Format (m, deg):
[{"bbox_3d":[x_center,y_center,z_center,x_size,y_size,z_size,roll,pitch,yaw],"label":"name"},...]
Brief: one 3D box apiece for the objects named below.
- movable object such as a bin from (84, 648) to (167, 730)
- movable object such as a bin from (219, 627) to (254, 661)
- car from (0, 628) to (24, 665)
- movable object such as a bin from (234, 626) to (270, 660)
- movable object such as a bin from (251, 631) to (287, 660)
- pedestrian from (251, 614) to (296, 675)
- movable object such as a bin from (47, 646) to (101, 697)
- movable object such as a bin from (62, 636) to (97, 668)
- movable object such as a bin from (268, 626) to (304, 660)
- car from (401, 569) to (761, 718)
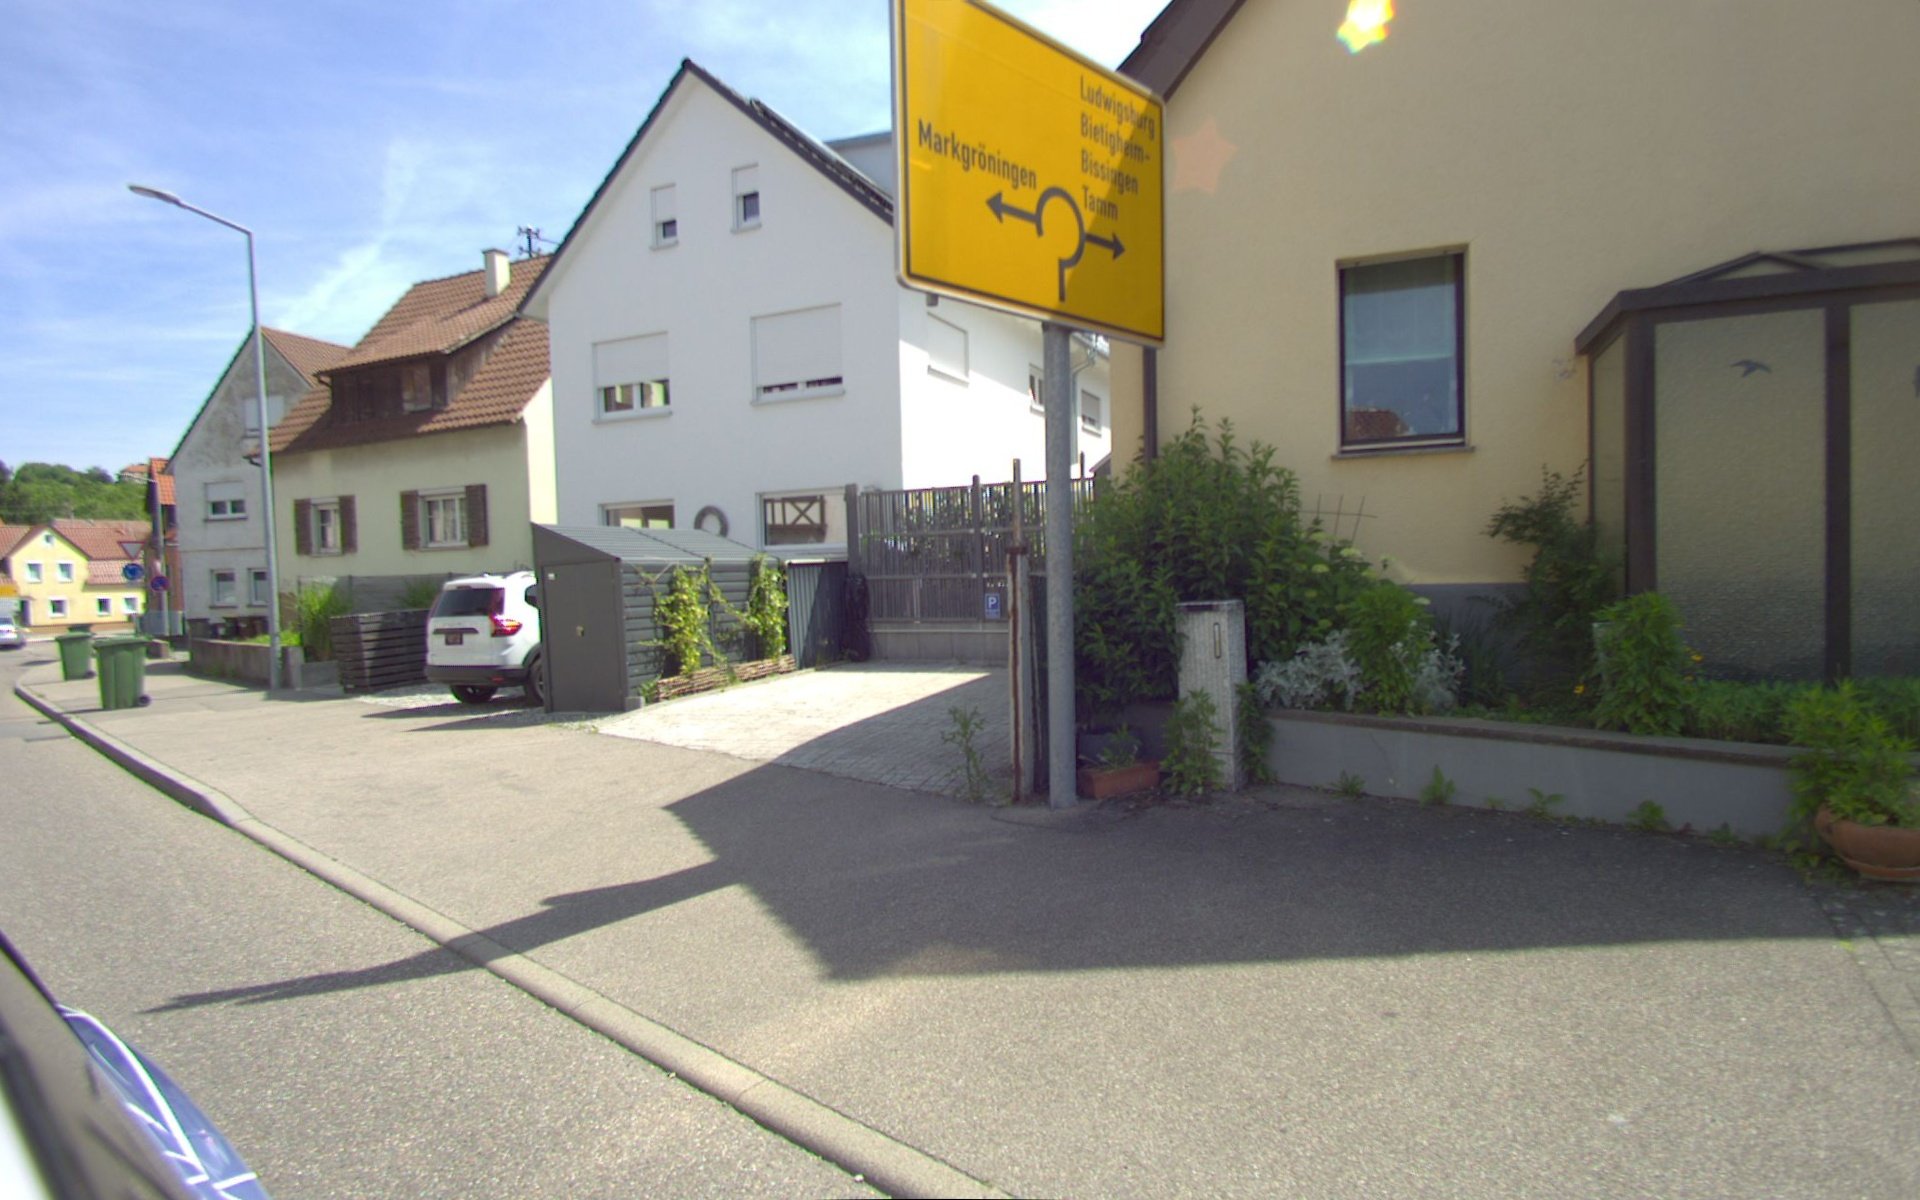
[{"bbox_3d":[-12.408,1.299,15.052,0.818,1.085,0.816,-2,2,44],"label":"movable object such as a bin"},{"bbox_3d":[-24.741,1.491,34.598,0.639,1.094,0.681,-3,2,17],"label":"movable object such as a bin"},{"bbox_3d":[-41.386,2.001,43.228,1.932,1.497,4.464,-4,2,-42],"label":"car"},{"bbox_3d":[-24.037,1.453,34.366,0.692,1.094,0.681,-3,2,17],"label":"movable object such as a bin"},{"bbox_3d":[-23.296,1.520,34.109,0.692,0.903,0.681,-3,2,17],"label":"movable object such as a bin"},{"bbox_3d":[-18.755,1.219,27.658,0.626,1.585,0.770,-2,1,35],"label":"pedestrian"},{"bbox_3d":[-19.954,1.595,22.793,0.650,1.065,0.783,-2,1,40],"label":"movable object such as a bin"},{"bbox_3d":[-30.835,1.812,35.462,0.798,1.052,0.829,-4,2,-36],"label":"movable object such as a bin"},{"bbox_3d":[-22.554,1.437,33.862,0.692,1.090,0.681,-3,2,17],"label":"movable object such as a bin"},{"bbox_3d":[-5.015,0.464,14.043,1.993,1.634,4.371,-1,2,31],"label":"car"}]
